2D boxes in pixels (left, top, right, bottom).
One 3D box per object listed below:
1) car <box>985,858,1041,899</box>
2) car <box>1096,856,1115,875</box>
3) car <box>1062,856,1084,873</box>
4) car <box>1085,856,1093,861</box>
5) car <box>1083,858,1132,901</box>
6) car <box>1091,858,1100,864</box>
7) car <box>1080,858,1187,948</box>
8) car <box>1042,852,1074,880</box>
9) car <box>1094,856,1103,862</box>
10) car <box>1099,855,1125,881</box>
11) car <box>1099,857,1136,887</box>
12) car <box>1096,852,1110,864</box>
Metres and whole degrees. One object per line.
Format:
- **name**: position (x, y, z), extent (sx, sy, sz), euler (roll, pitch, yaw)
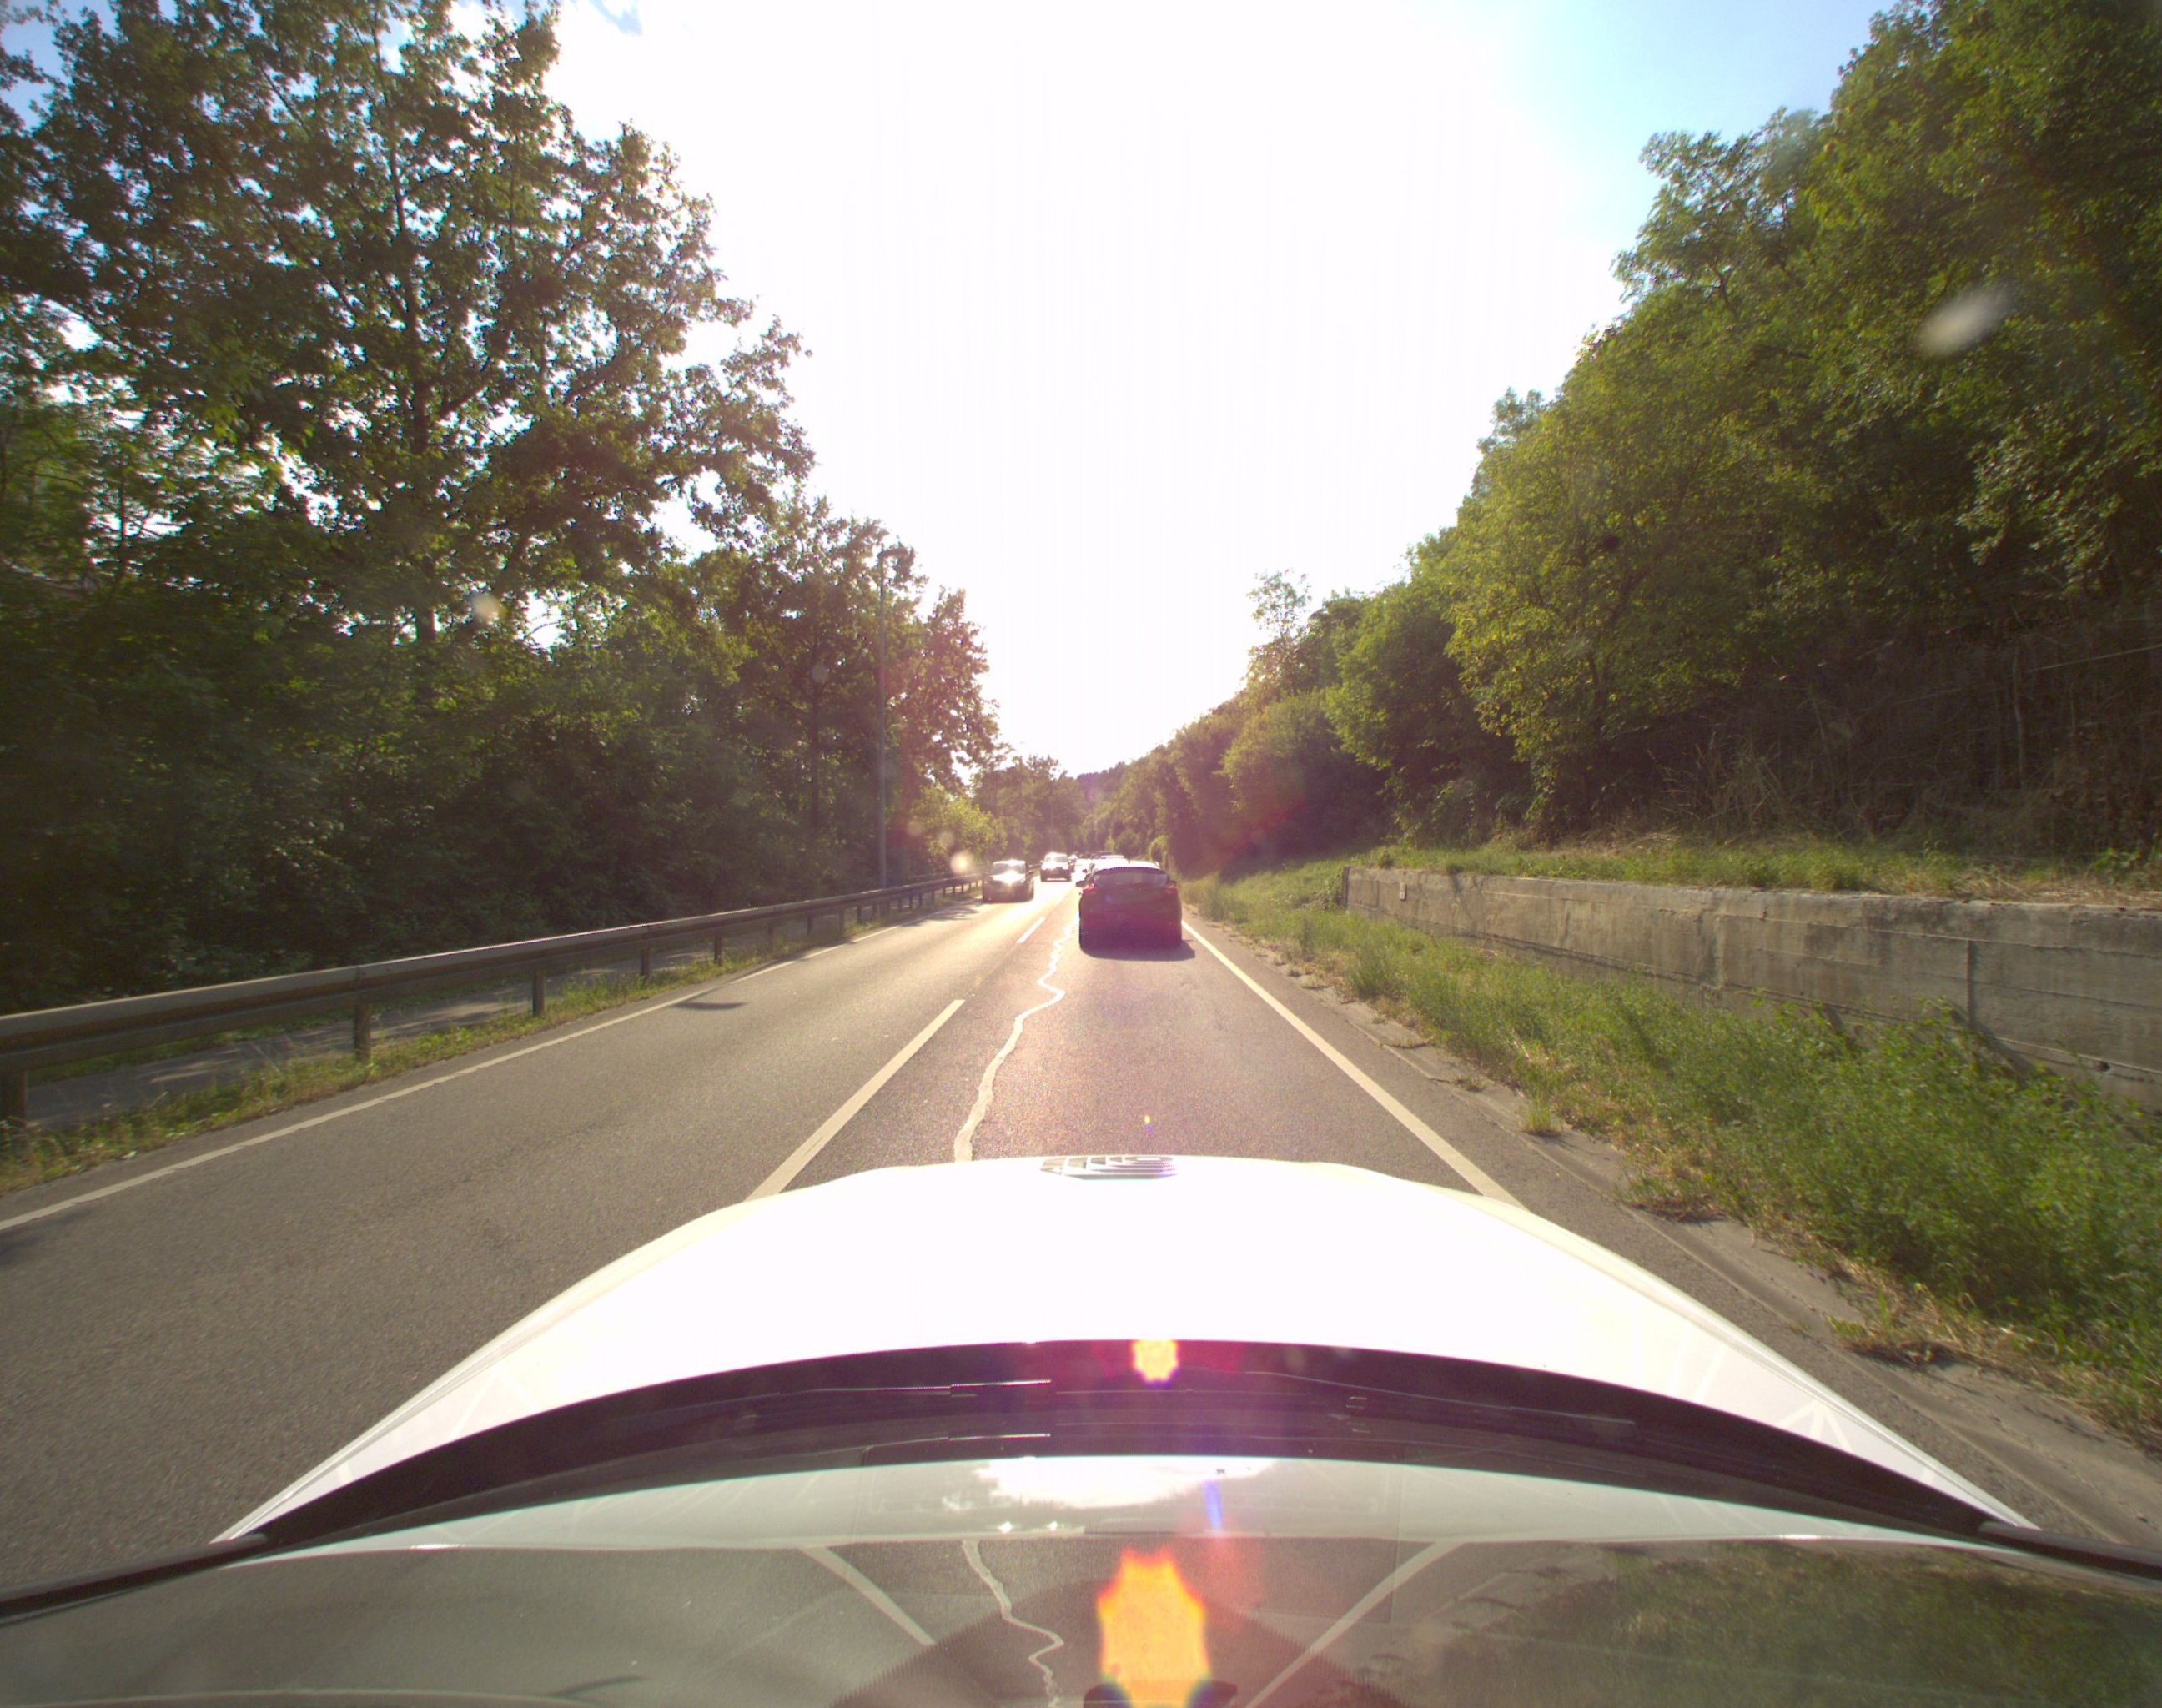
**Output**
- **car**: position (-2.587, 0.913, 31.882), extent (1.675, 1.442, 4.002), euler (-1, 0, 2)
- **car**: position (2.173, 0.977, 72.854), extent (1.624, 1.596, 4.002), euler (-1, 0, 2)
- **car**: position (-0.724, 0.951, 74.864), extent (1.685, 1.420, 4.145), euler (-2, 0, 3)
- **car**: position (2.274, 1.371, 246.700), extent (1.991, 1.519, 3.992), euler (-1, 0, -6)
- **car**: position (1.015, 0.880, 29.728), extent (1.654, 1.418, 4.003), euler (-1, 0, 3)
- **car**: position (4.072, 2.028, 233.365), extent (1.991, 1.519, 3.992), euler (-1, 0, -6)
- **car**: position (0.922, 0.818, 15.279), extent (1.733, 1.456, 4.002), euler (0, 0, 2)
- **car**: position (-1.451, 0.761, 52.530), extent (1.741, 1.717, 4.224), euler (-1, 0, 2)
- **car**: position (4.604, 1.394, 212.449), extent (1.991, 1.519, 3.992), euler (-1, 0, -6)
- **car**: position (2.030, 0.862, 53.454), extent (1.624, 1.596, 4.002), euler (-1, 0, 2)
- **car**: position (1.835, 0.871, 41.552), extent (1.798, 1.391, 4.002), euler (-1, 0, 2)
- **car**: position (3.172, 0.581, 118.758), extent (1.857, 1.780, 4.000), euler (-1, 0, 0)
